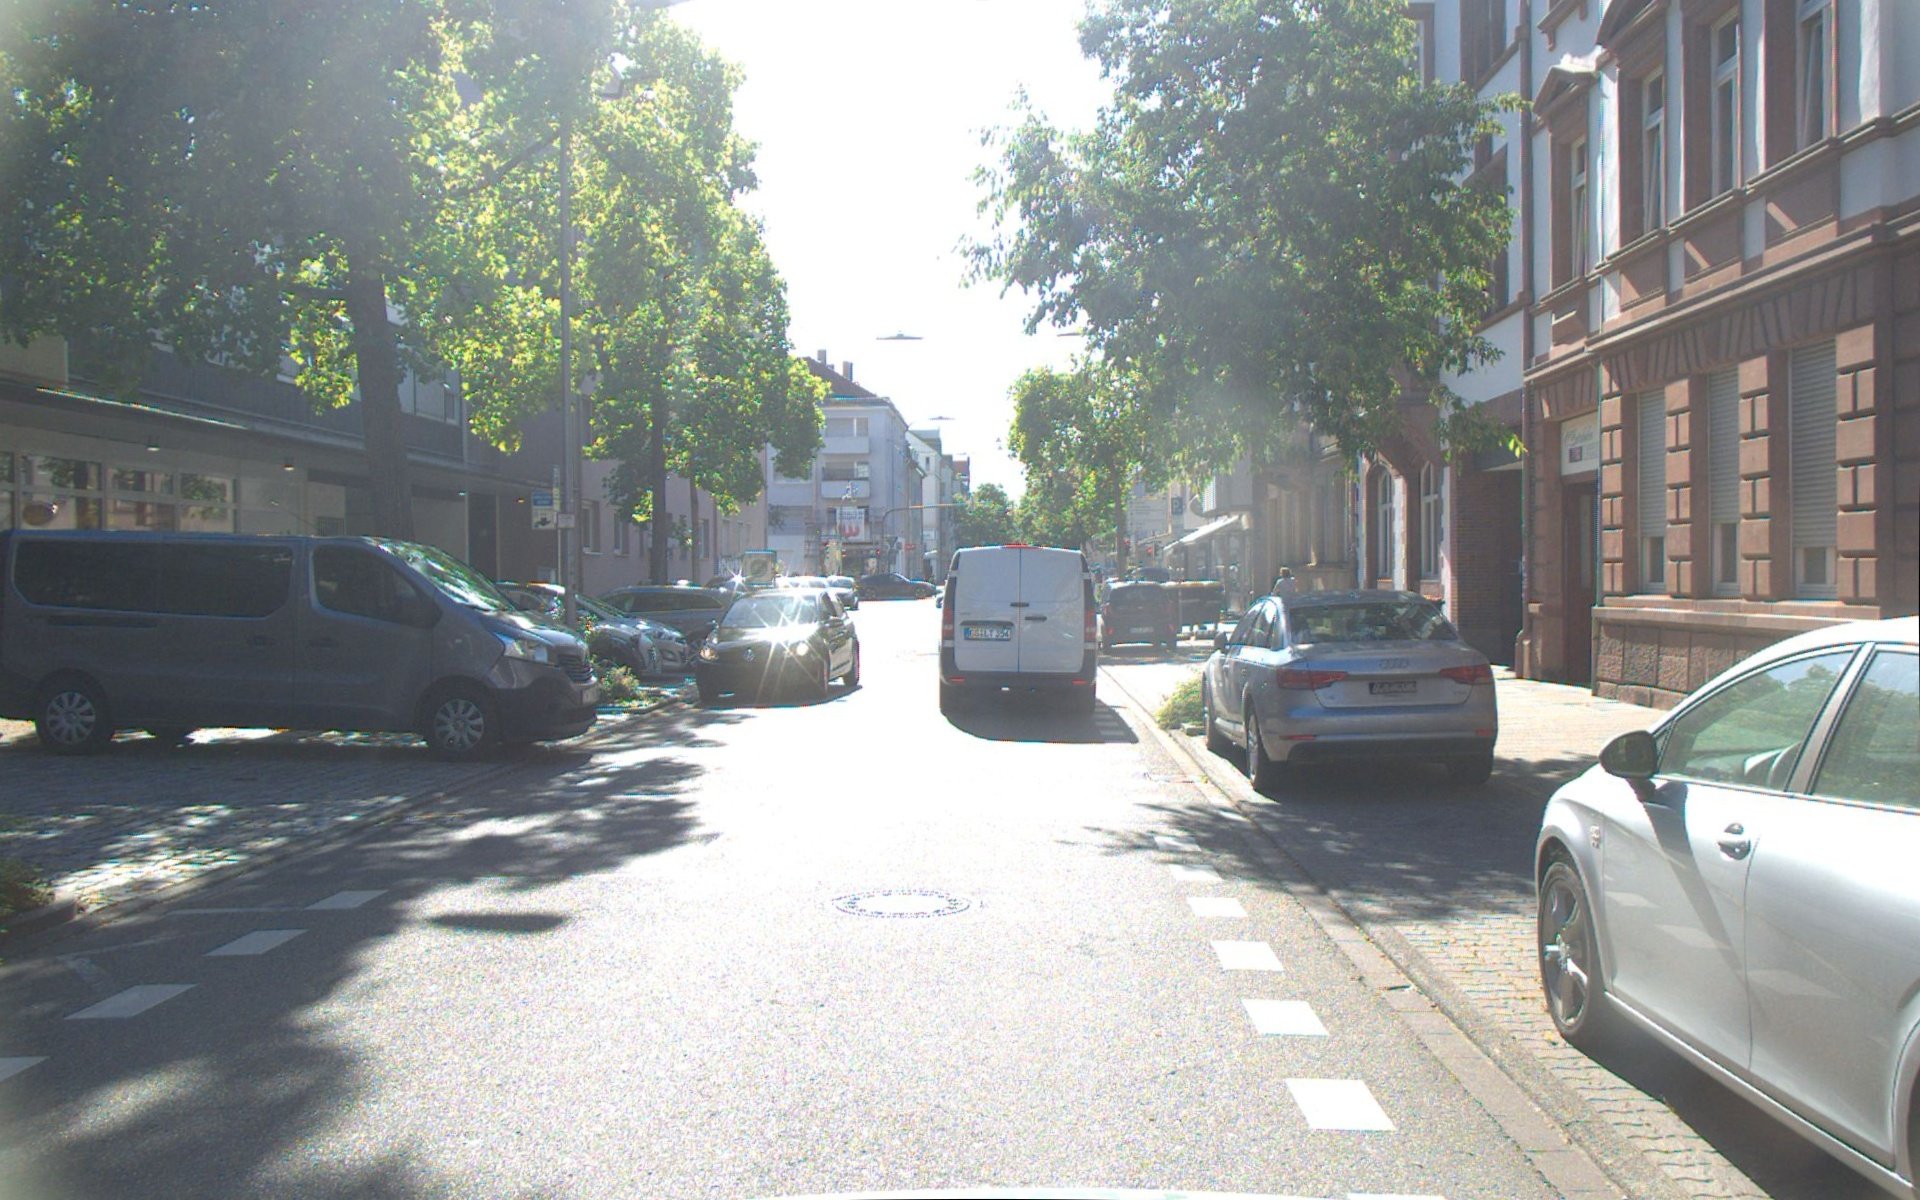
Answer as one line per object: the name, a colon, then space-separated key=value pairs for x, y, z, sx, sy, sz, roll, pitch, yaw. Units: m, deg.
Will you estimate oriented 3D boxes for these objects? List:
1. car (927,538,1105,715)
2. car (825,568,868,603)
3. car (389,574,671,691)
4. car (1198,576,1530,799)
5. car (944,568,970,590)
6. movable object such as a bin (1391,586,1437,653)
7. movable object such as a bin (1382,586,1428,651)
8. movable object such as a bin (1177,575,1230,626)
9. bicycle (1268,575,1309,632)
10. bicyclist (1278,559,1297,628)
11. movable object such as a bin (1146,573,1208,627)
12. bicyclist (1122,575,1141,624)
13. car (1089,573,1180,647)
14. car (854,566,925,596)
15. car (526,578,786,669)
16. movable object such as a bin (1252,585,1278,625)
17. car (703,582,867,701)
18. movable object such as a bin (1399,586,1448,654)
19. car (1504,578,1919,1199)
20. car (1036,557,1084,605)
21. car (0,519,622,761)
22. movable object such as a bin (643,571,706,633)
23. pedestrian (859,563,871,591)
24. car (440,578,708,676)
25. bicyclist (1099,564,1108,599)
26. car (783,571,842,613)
car: x=0.572 y=0.243 z=20.776 sx=1.882 sy=1.947 sz=4.886 roll=1 pitch=1 yaw=-2
car: x=-5.103 y=-0.678 z=74.975 sx=1.619 sy=1.505 sz=4.001 roll=1 pitch=1 yaw=1
car: x=-6.037 y=0.433 z=23.476 sx=3.523 sy=1.579 sz=1.685 roll=0 pitch=1 yaw=2
car: x=3.047 y=0.563 z=13.365 sx=1.702 sy=1.476 sz=4.308 roll=-1 pitch=1 yaw=1
car: x=-0.208 y=-1.368 z=108.629 sx=1.585 sy=1.422 sz=3.732 roll=0 pitch=1 yaw=2
movable object such as a bin: x=7.573 y=0.318 z=27.589 sx=0.624 sy=1.087 sz=0.522 roll=-1 pitch=1 yaw=1
movable object such as a bin: x=7.579 y=0.307 z=28.175 sx=0.624 sy=1.087 sz=0.632 roll=-1 pitch=1 yaw=1
movable object such as a bin: x=6.665 y=0.003 z=45.309 sx=1.022 sy=1.371 sz=1.103 roll=0 pitch=1 yaw=40
bicycle: x=7.162 y=0.062 z=36.116 sx=0.525 sy=1.168 sz=2.125 roll=-3 pitch=0 yaw=3
bicyclist: x=7.145 y=-0.140 z=36.092 sx=0.353 sy=1.502 sz=0.531 roll=0 pitch=1 yaw=4
movable object such as a bin: x=5.792 y=-0.007 z=44.119 sx=1.260 sy=1.371 sz=1.092 roll=-2 pitch=1 yaw=-40
bicyclist: x=5.570 y=-0.010 z=53.738 sx=0.430 sy=1.534 sz=0.497 roll=6 pitch=0 yaw=1
car: x=3.800 y=0.181 z=36.504 sx=1.602 sy=1.501 sz=3.580 roll=-1 pitch=1 yaw=0
car: x=-3.944 y=-1.067 z=92.657 sx=3.906 sy=1.668 sz=2.000 roll=0 pitch=1 yaw=-2
car: x=-5.345 y=0.390 z=29.373 sx=4.214 sy=1.485 sz=1.763 roll=1 pitch=1 yaw=4
movable object such as a bin: x=8.115 y=0.133 z=44.001 sx=0.586 sy=1.060 sz=0.546 roll=0 pitch=1 yaw=1
car: x=-2.364 y=0.518 z=23.246 sx=1.726 sy=1.463 sz=3.961 roll=-2 pitch=1 yaw=2
movable object such as a bin: x=7.566 y=0.324 z=27.019 sx=0.624 sy=1.087 sz=0.639 roll=-1 pitch=1 yaw=1
car: x=2.838 y=0.704 z=4.135 sx=1.702 sy=1.476 sz=4.001 roll=-1 pitch=1 yaw=1
car: x=4.222 y=-0.808 z=70.291 sx=1.778 sy=1.954 sz=4.645 roll=-1 pitch=1 yaw=1
car: x=-5.947 y=0.321 z=15.265 sx=5.182 sy=2.008 sz=2.016 roll=1 pitch=1 yaw=1
movable object such as a bin: x=-6.939 y=0.037 z=40.191 sx=1.204 sy=1.475 sz=1.077 roll=0 pitch=1 yaw=10
pedestrian: x=-5.781 y=-1.392 z=100.764 sx=0.669 sy=1.692 sz=0.601 roll=-1 pitch=1 yaw=0
car: x=-6.151 y=0.411 z=26.681 sx=3.906 sy=1.489 sz=1.812 roll=0 pitch=1 yaw=-1
bicyclist: x=6.634 y=-0.839 z=76.575 sx=0.348 sy=1.602 sz=0.481 roll=1 pitch=0 yaw=-1
car: x=-5.711 y=-0.333 z=64.576 sx=1.740 sy=1.495 sz=4.761 roll=2 pitch=1 yaw=1
